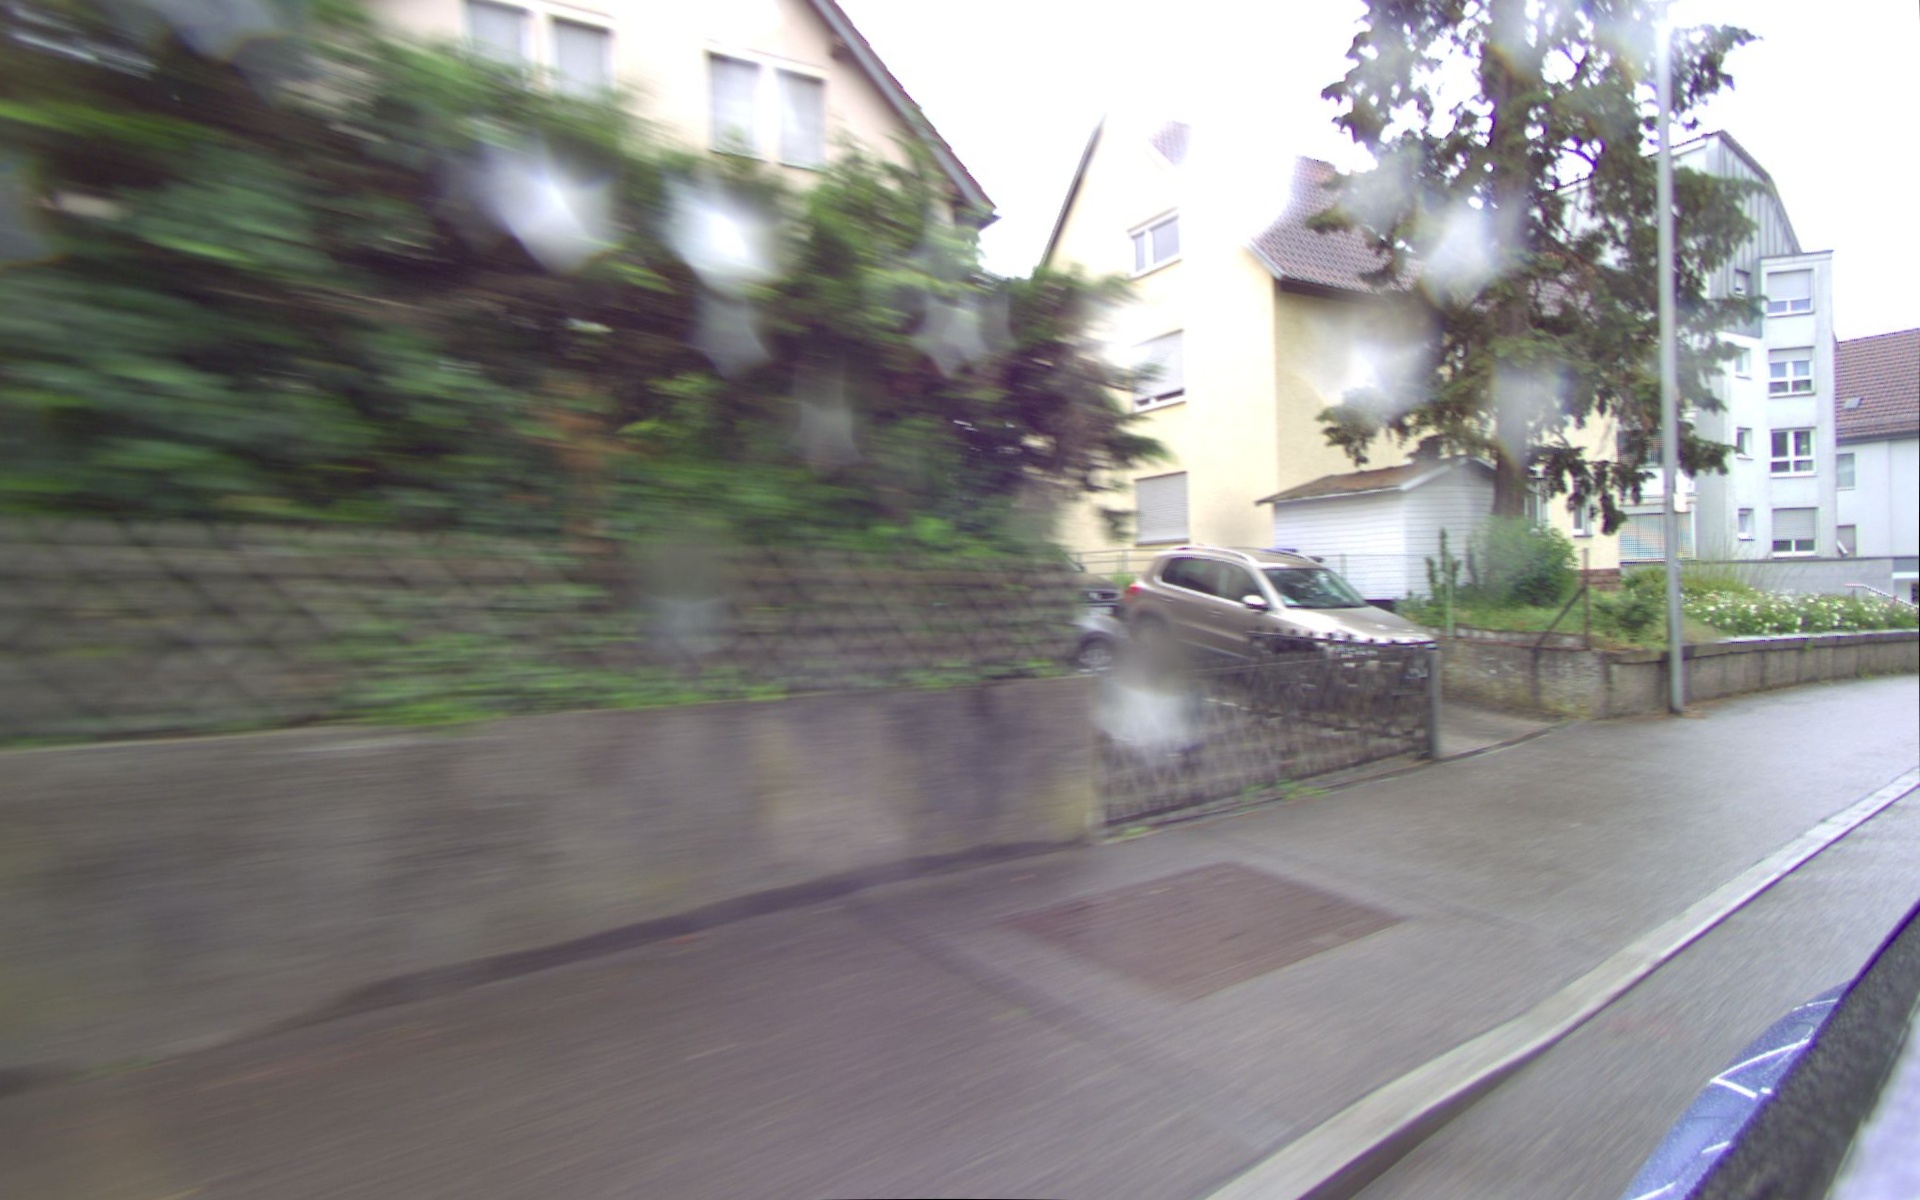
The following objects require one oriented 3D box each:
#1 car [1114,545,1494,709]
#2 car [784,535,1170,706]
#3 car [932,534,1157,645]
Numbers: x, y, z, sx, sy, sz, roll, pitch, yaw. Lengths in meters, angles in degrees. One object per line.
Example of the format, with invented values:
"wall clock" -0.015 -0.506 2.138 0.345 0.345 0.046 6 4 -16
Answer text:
"car" 4.034 0.229 12.653 1.923 1.674 4.337 0 1 -28
"car" 0.223 0.182 11.723 4.063 1.674 1.903 0 1 -29
"car" 1.330 -0.268 17.469 1.924 1.673 3.870 0 3 -32
